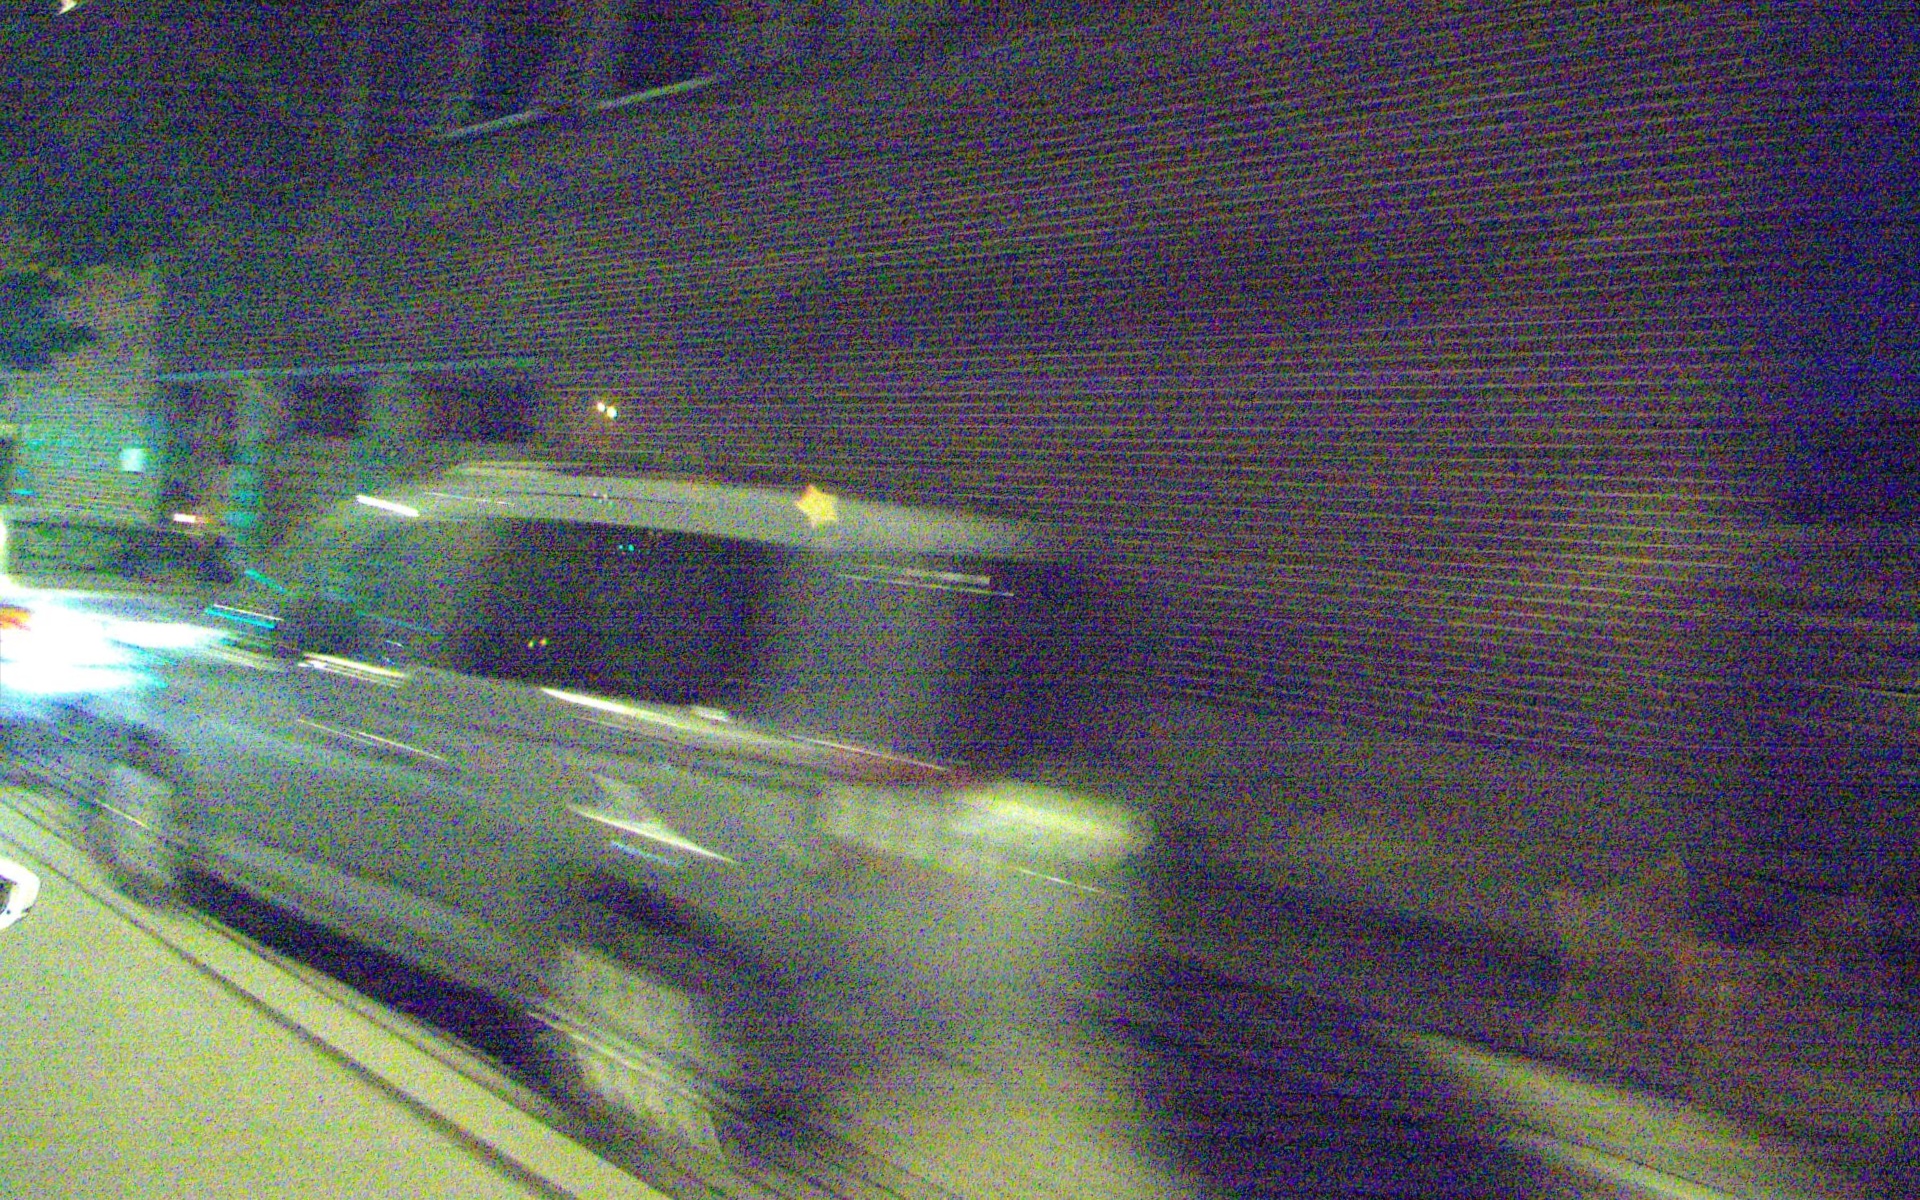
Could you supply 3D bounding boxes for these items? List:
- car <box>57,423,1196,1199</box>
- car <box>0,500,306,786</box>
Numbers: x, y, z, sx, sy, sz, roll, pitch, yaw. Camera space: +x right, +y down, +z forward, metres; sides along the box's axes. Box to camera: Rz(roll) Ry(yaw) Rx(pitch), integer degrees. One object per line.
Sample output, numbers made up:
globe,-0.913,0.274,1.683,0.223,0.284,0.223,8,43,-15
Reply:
car,-1.473,0.430,3.966,4.204,1.830,1.773,7,2,29
car,-6.222,0.092,6.757,3.919,1.414,1.521,7,1,32
